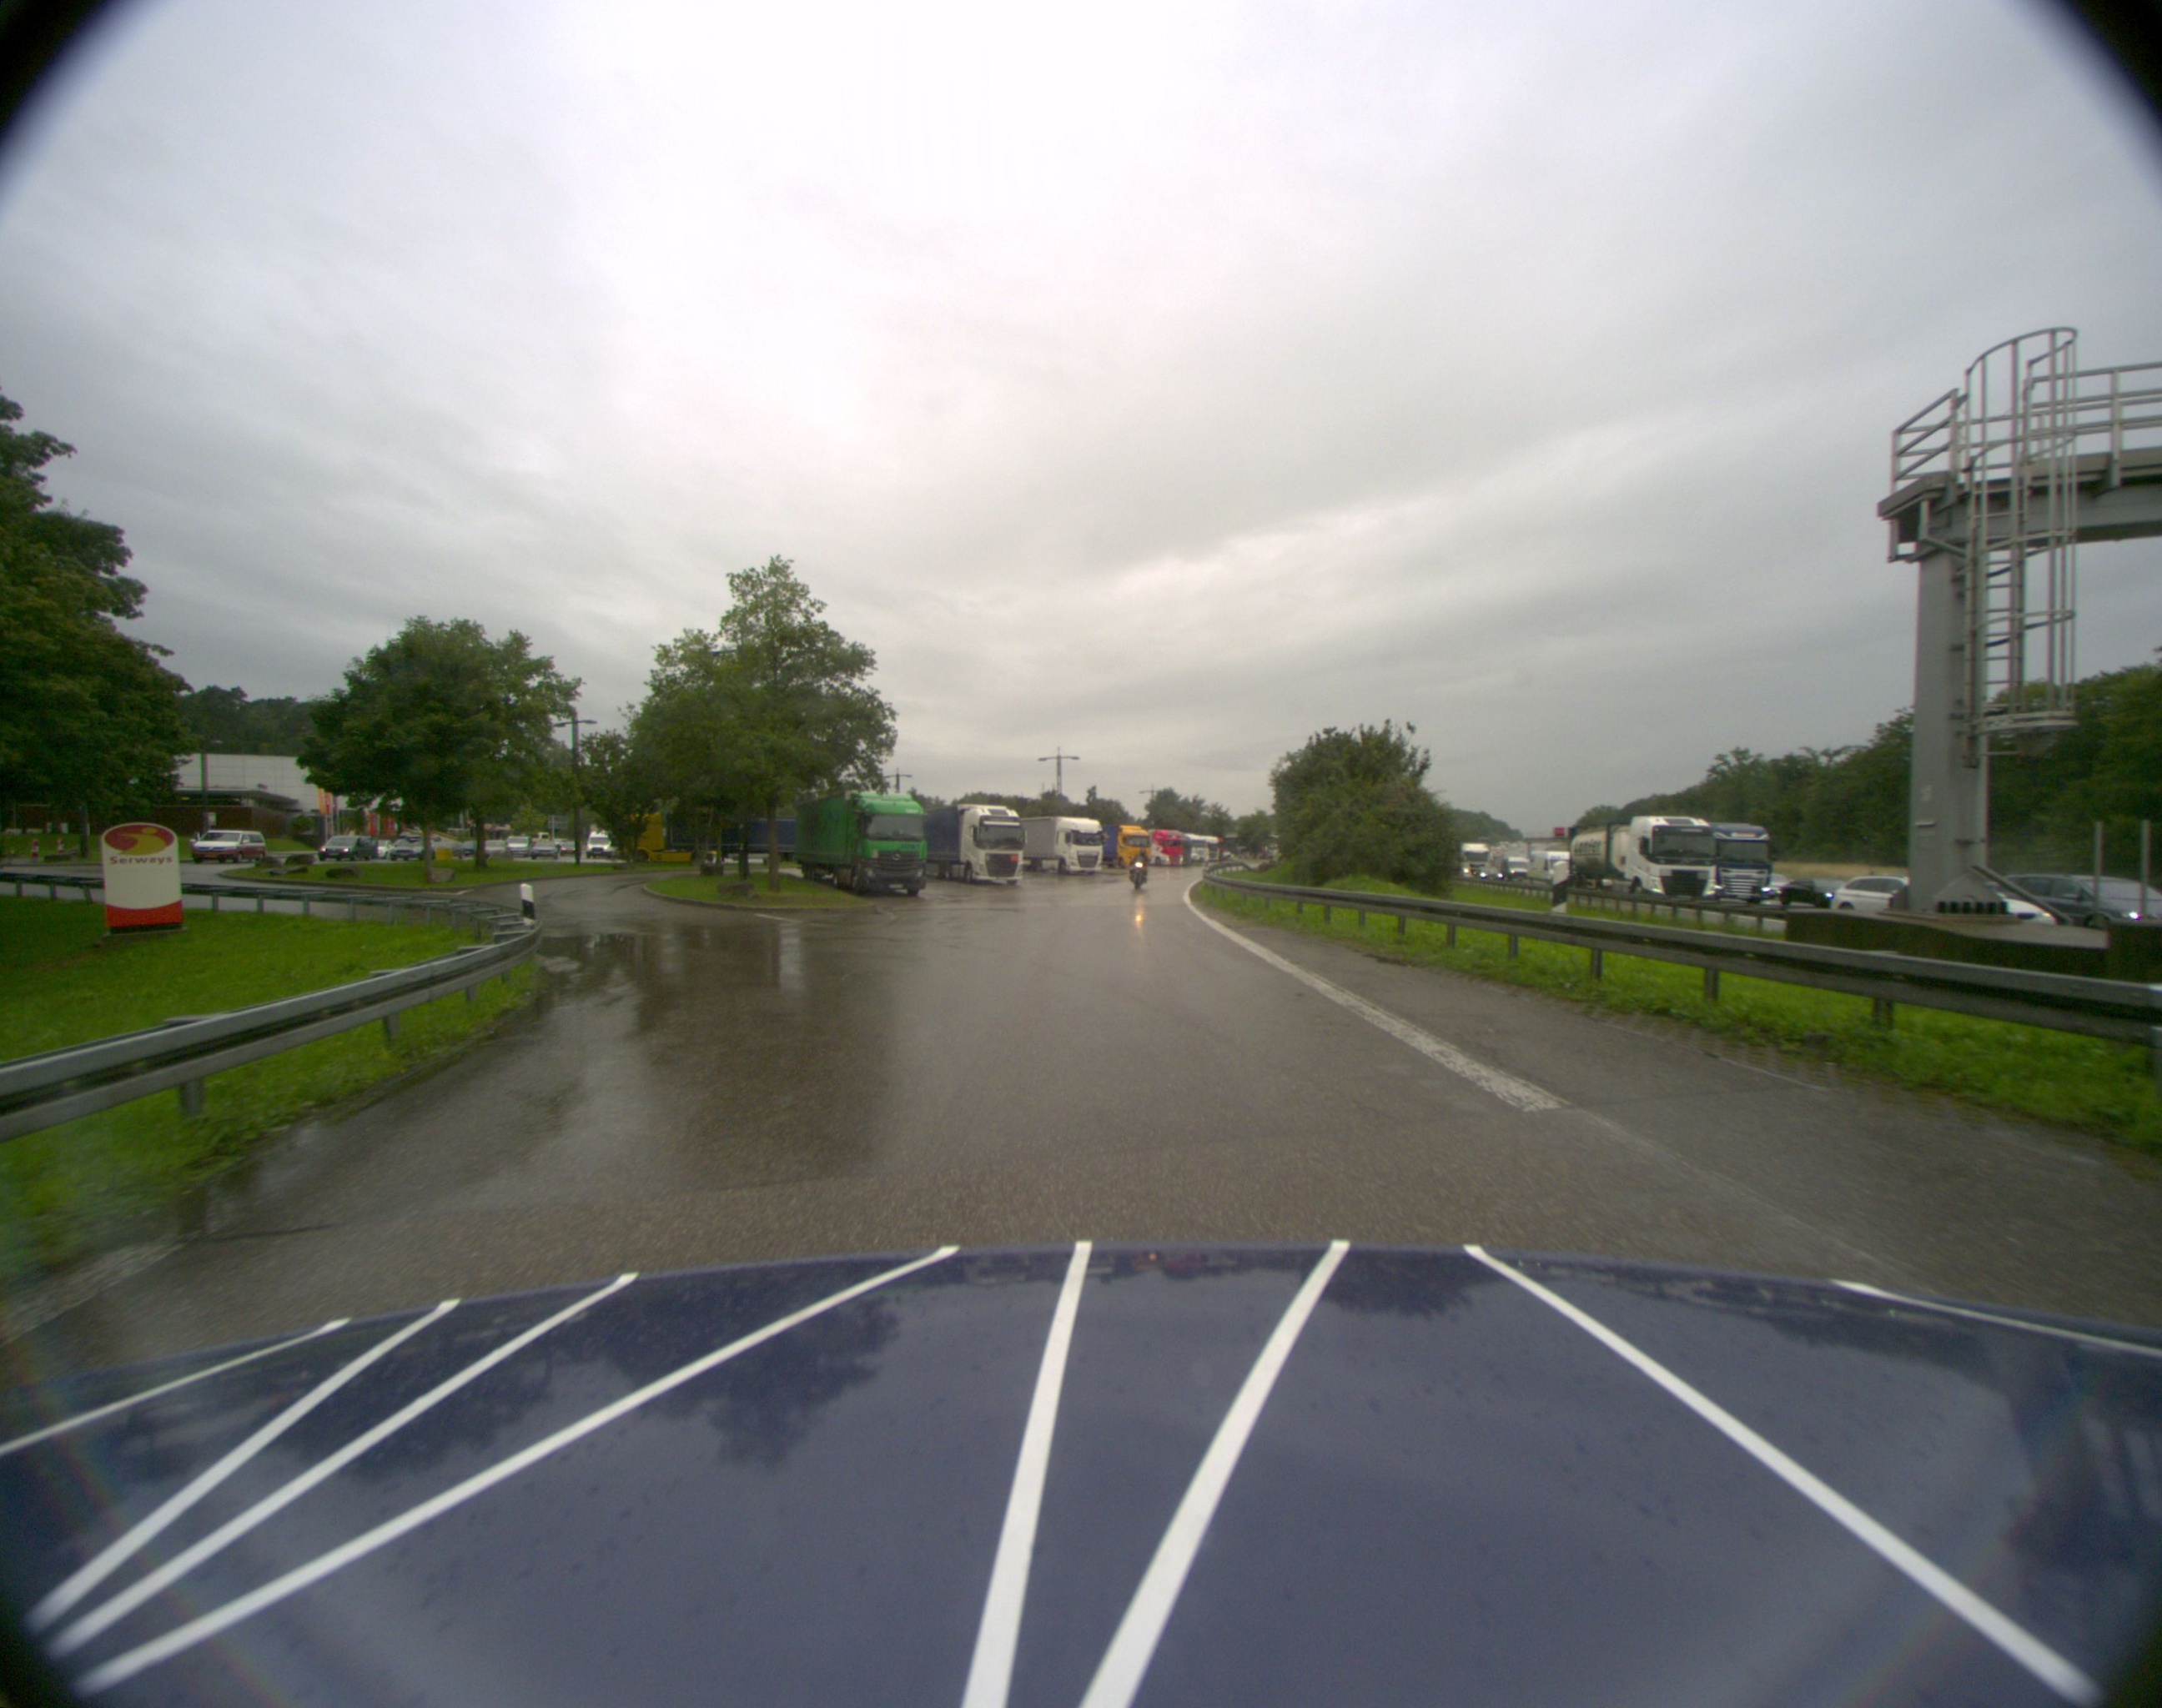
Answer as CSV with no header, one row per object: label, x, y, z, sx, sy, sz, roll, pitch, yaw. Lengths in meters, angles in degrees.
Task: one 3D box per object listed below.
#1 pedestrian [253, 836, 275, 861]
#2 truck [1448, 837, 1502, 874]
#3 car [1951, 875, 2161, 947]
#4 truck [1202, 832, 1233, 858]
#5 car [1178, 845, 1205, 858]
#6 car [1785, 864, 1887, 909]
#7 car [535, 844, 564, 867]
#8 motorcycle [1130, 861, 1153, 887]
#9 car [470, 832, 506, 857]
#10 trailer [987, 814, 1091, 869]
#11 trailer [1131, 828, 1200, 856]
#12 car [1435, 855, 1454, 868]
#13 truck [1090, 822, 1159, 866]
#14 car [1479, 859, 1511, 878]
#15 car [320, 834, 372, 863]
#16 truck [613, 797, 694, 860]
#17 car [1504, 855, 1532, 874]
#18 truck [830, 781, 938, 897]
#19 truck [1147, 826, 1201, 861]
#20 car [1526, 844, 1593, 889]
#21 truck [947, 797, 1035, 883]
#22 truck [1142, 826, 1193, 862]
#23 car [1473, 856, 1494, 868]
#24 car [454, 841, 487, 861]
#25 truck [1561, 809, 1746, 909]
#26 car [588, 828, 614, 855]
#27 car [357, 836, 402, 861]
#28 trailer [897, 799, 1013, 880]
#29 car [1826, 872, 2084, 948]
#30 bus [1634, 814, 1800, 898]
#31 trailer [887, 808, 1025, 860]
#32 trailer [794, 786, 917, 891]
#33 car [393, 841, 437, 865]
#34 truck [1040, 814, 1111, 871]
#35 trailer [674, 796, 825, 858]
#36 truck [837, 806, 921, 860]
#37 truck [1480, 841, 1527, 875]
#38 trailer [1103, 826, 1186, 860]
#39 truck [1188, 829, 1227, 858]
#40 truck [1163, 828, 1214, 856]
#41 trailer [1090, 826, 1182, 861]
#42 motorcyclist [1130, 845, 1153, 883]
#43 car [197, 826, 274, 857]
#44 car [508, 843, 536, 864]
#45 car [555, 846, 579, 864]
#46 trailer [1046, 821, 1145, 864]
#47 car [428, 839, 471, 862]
pedestrian,-54.471,-0.372,50.670,0.791,1.650,0.718,1,1,16
truck,43.617,0.071,84.432,3.532,3.825,9.446,-2,0,17
car,25.757,1.388,19.685,1.930,1.513,4.768,1,0,16
truck,22.689,-1.504,126.488,2.610,4.361,4.617,-1,1,-30
car,15.675,-0.417,107.868,1.851,1.848,3.990,-1,1,-27
car,34.345,1.421,34.696,1.621,1.770,4.005,-2,0,18
car,-46.480,0.170,66.449,1.787,1.871,3.990,-3,1,-32
motorcycle,2.515,0.829,31.824,0.878,1.016,2.353,1,0,2
car,-49.048,-0.755,62.895,1.859,1.871,3.990,-3,1,-32
trailer,-3.737,-1.036,60.665,2.849,3.897,13.921,0,1,-27
trailer,12.936,-1.902,118.748,3.251,4.068,13.499,0,1,-30
car,50.966,1.092,106.644,1.816,1.746,4.693,-1,0,19
truck,4.005,-0.981,72.368,2.844,3.897,8.111,0,1,-26
car,38.955,1.319,71.575,1.816,1.674,4.005,-1,0,17
car,-52.128,-0.388,53.970,1.821,1.871,3.990,-3,1,-32
truck,-32.753,-1.944,58.434,5.085,4.525,3.431,-3,1,-27
car,46.768,1.095,81.389,1.732,2.002,4.005,0,0,16
truck,-8.036,-0.595,30.441,2.831,4.126,5.983,0,2,-29
truck,10.902,-1.254,89.840,2.904,3.897,6.539,0,1,-30
car,31.685,0.737,50.557,2.365,2.628,6.906,-2,0,21
truck,-4.773,-0.720,39.490,2.831,4.122,5.290,0,2,-27
truck,9.598,-1.142,85.062,3.251,3.897,5.009,0,1,-30
car,55.573,1.054,104.868,1.818,1.652,3.992,0,0,17
car,-56.951,-0.257,70.929,2.004,1.789,3.989,1,0,-32
truck,27.628,0.111,37.710,3.351,4.047,12.587,-2,0,18
car,-46.590,-1.208,73.752,2.004,2.498,4.727,0,0,-34
car,-55.838,-0.434,60.575,1.856,1.871,3.990,-3,1,-32
trailer,-8.048,-0.917,45.945,2.831,4.147,13.961,0,1,-27
car,21.505,1.283,19.074,1.930,1.513,4.768,1,0,16
bus,33.020,0.015,40.149,2.898,3.746,10.442,-2,0,18
trailer,-11.343,-1.704,69.760,12.050,4.449,3.251,0,1,-28
trailer,-11.296,-0.765,36.545,2.831,4.126,13.933,0,1,-28
car,-49.660,-0.040,56.703,1.761,1.680,3.990,-3,1,-32
truck,-0.478,-0.822,54.410,2.835,3.890,5.398,0,1,-28
trailer,-26.724,-2.235,61.578,10.754,4.525,3.431,-3,1,-28
truck,-17.632,-1.742,66.411,6.546,4.482,3.251,0,1,-28
truck,50.796,0.386,91.608,3.037,3.655,9.447,-2,0,18
trailer,7.709,-1.450,95.403,2.881,3.897,13.900,0,1,-30
truck,20.176,-1.678,121.512,3.251,4.361,5.799,-1,1,-30
truck,15.923,-1.786,113.521,3.251,4.068,7.918,0,1,-30
trailer,6.252,-1.325,90.905,3.251,3.897,14.793,0,1,-30
motorcyclist,2.529,0.405,31.797,0.878,1.559,1.373,1,0,2
car,-52.557,-0.731,47.344,1.971,1.724,4.532,-3,1,-32
car,-53.993,0.004,73.443,1.772,1.871,3.990,-3,1,-32
car,-53.610,0.118,79.338,1.831,1.666,3.990,-3,1,-32
trailer,1.026,-1.231,78.333,2.873,3.897,16.594,0,1,-26
car,-52.247,-0.297,62.943,2.003,1.876,4.386,0,0,-30
